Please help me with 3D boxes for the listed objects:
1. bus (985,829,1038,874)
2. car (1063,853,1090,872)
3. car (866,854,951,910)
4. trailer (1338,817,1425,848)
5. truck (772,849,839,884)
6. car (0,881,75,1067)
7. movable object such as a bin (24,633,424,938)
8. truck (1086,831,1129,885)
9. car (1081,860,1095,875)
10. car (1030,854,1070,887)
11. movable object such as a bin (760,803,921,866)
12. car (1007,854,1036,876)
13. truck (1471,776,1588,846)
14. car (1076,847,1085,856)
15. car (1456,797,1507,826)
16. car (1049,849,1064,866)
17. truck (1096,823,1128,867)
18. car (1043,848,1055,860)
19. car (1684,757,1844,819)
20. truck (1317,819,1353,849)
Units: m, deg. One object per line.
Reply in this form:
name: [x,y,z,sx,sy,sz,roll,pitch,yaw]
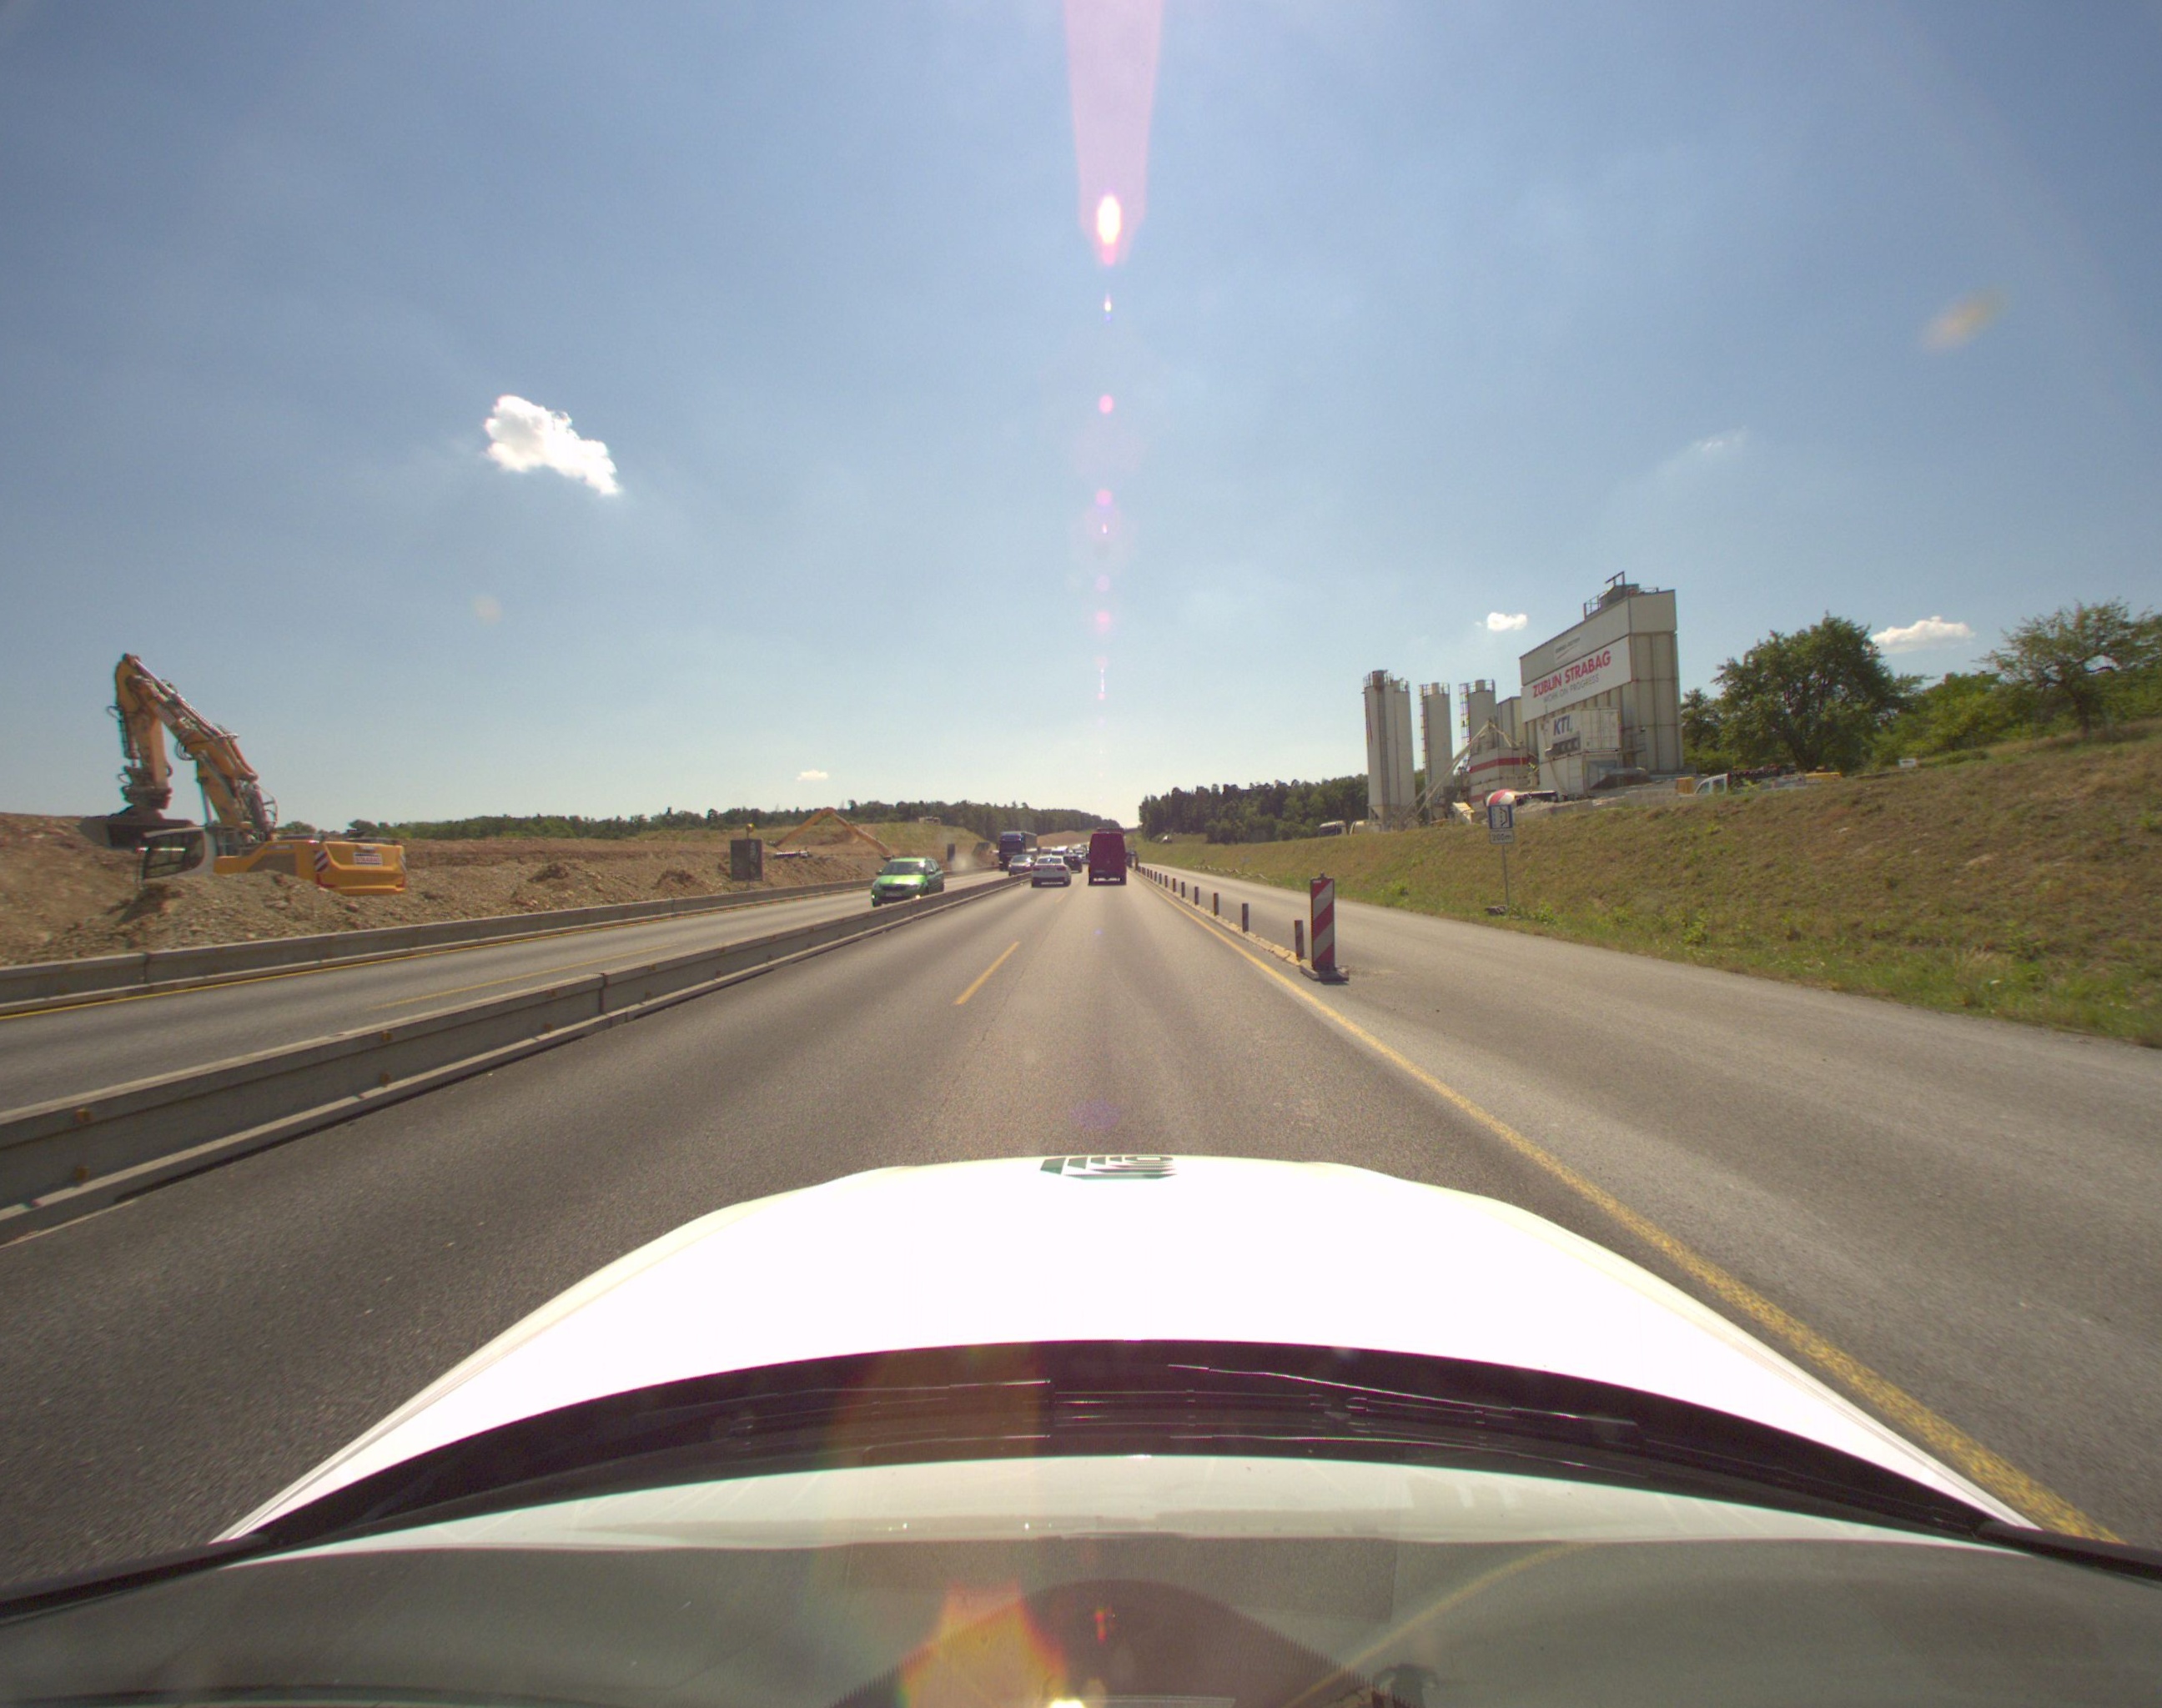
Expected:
bus: [-7.458,-0.288,90.815,3.929,4.415,17.203,-2,0,1]
car: [-0.339,0.685,69.452,1.786,1.534,3.938,-2,0,6]
car: [-5.327,0.812,25.655,1.596,1.580,4.169,-2,0,2]
trailer: [34.344,-2.483,93.271,9.006,3.229,3.316,-2,0,-13]
truck: [-22.383,0.938,66.593,2.307,2.617,8.414,-2,0,2]
car: [-9.321,0.952,4.587,1.684,1.433,4.450,-1,0,2]
movable object such as a bin: [-23.771,-1.766,22.949,7.605,7.713,3.448,-2,0,3]
truck: [1.515,0.173,43.930,2.103,2.633,6.490,-2,0,3]
car: [0.926,1.827,111.382,1.757,2.013,3.828,-2,0,2]
car: [-1.508,0.783,41.071,1.789,1.534,5.073,-1,0,0]
movable object such as a bin: [-29.810,-2.388,101.498,18.653,7.231,3.615,-2,0,-1]
car: [-4.435,0.813,61.185,1.646,1.558,4.097,-2,0,2]
truck: [30.836,-2.758,56.680,3.418,4.296,9.944,-2,0,6]
car: [-0.057,-0.580,188.409,1.986,1.904,4.002,-2,0,2]
car: [31.779,-3.359,64.733,1.986,2.013,4.429,-2,0,2]
car: [-3.306,0.455,109.647,1.853,2.154,3.624,-2,0,-1]
truck: [3.198,-0.854,83.052,3.003,4.153,8.277,-2,0,2]
car: [-5.455,0.035,139.778,1.757,2.013,3.828,-2,0,2]
car: [26.879,-2.520,32.347,2.215,2.013,4.995,-2,0,2]
truck: [28.658,-2.201,91.689,2.869,3.113,6.047,-2,0,26]
